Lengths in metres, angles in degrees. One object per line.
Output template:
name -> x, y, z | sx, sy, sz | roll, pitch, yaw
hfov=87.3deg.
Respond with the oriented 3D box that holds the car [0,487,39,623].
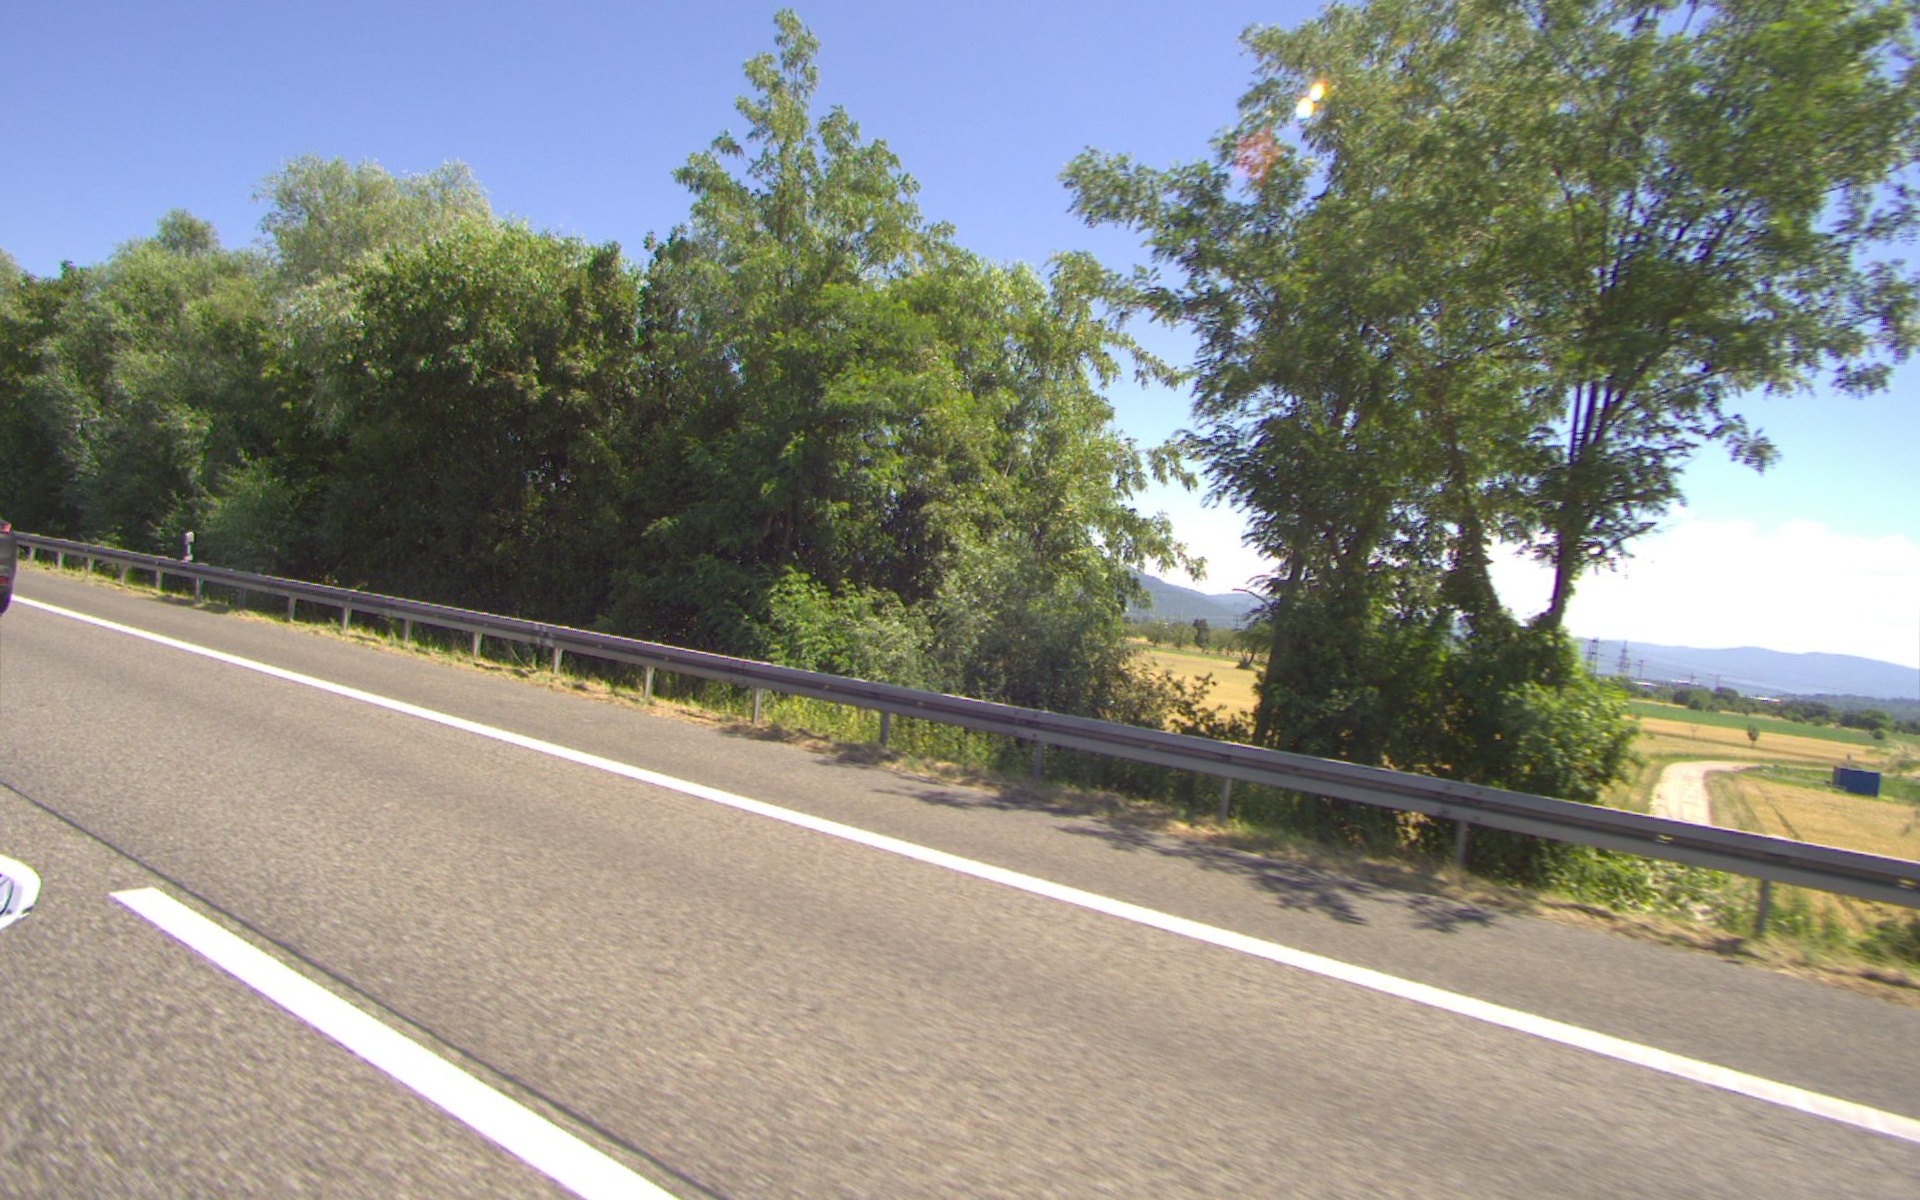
car -> -13.827, -0.811, 12.931 | 4.067, 1.648, 1.848 | 7, 0, 32
